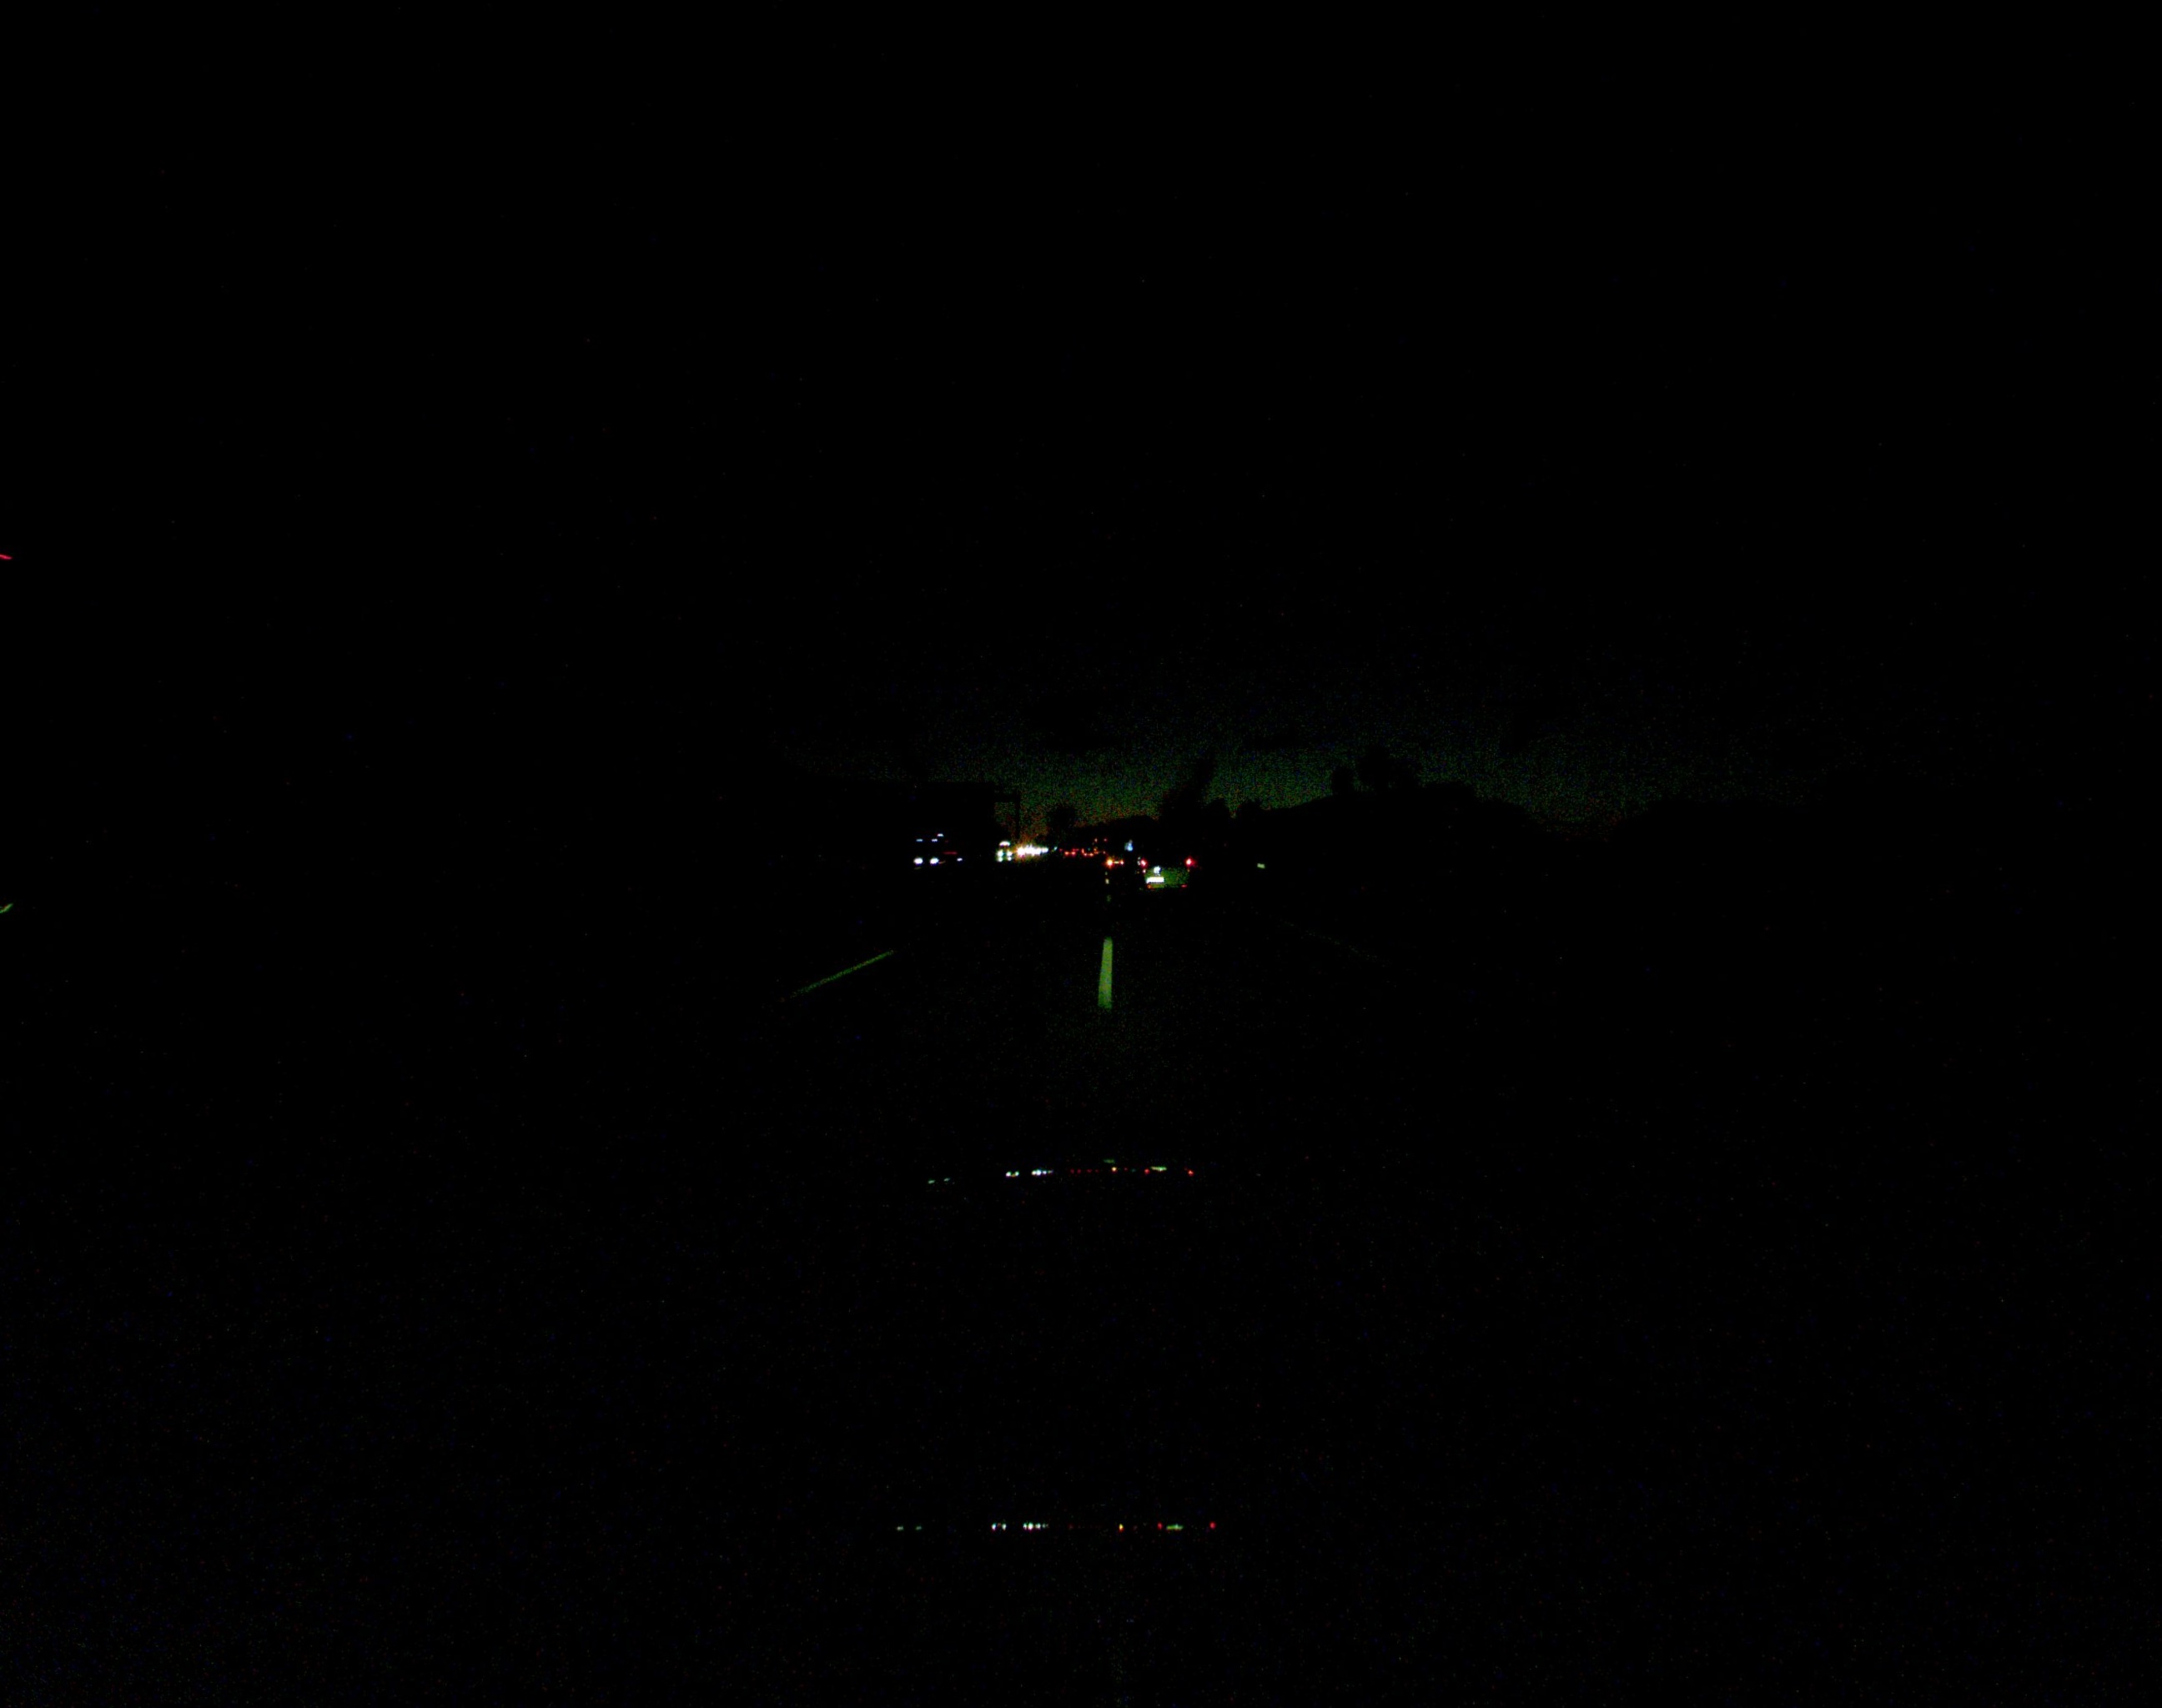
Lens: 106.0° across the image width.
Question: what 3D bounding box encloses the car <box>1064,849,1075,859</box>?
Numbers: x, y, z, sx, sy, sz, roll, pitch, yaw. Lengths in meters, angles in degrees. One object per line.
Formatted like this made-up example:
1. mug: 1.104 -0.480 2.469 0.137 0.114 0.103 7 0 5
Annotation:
1. car: -2.297 0.031 163.835 1.988 1.816 3.998 -1 -1 -1

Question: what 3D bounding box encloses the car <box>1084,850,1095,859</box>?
1. car: 1.747 0.085 164.054 1.989 1.794 3.995 -1 -1 -3

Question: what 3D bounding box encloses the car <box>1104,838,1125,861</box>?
1. car: 4.009 -0.519 98.406 2.027 2.647 5.721 -1 0 -2

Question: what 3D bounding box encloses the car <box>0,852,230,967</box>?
1. car: -16.795 0.840 12.793 1.815 1.694 4.675 -1 -1 2

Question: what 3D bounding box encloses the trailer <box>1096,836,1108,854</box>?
1. trailer: 5.644 -2.304 220.193 2.819 4.257 17.048 -1 -1 1

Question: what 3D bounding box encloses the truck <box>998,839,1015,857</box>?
1. truck: -17.690 -1.423 192.873 3.419 3.980 6.206 -1 0 0

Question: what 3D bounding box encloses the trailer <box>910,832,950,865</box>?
1. trailer: -18.836 -0.681 101.811 3.418 3.980 7.354 -1 0 1

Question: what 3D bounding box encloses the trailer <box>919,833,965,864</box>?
1. trailer: -18.642 -0.709 110.246 3.418 3.980 14.052 -1 0 1

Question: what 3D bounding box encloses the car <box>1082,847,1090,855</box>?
1. car: 1.229 -0.761 207.260 1.987 1.794 4.000 -1 -1 1

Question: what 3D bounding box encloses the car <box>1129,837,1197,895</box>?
1. car: 3.047 0.405 31.544 2.108 2.001 5.664 -1 0 1
